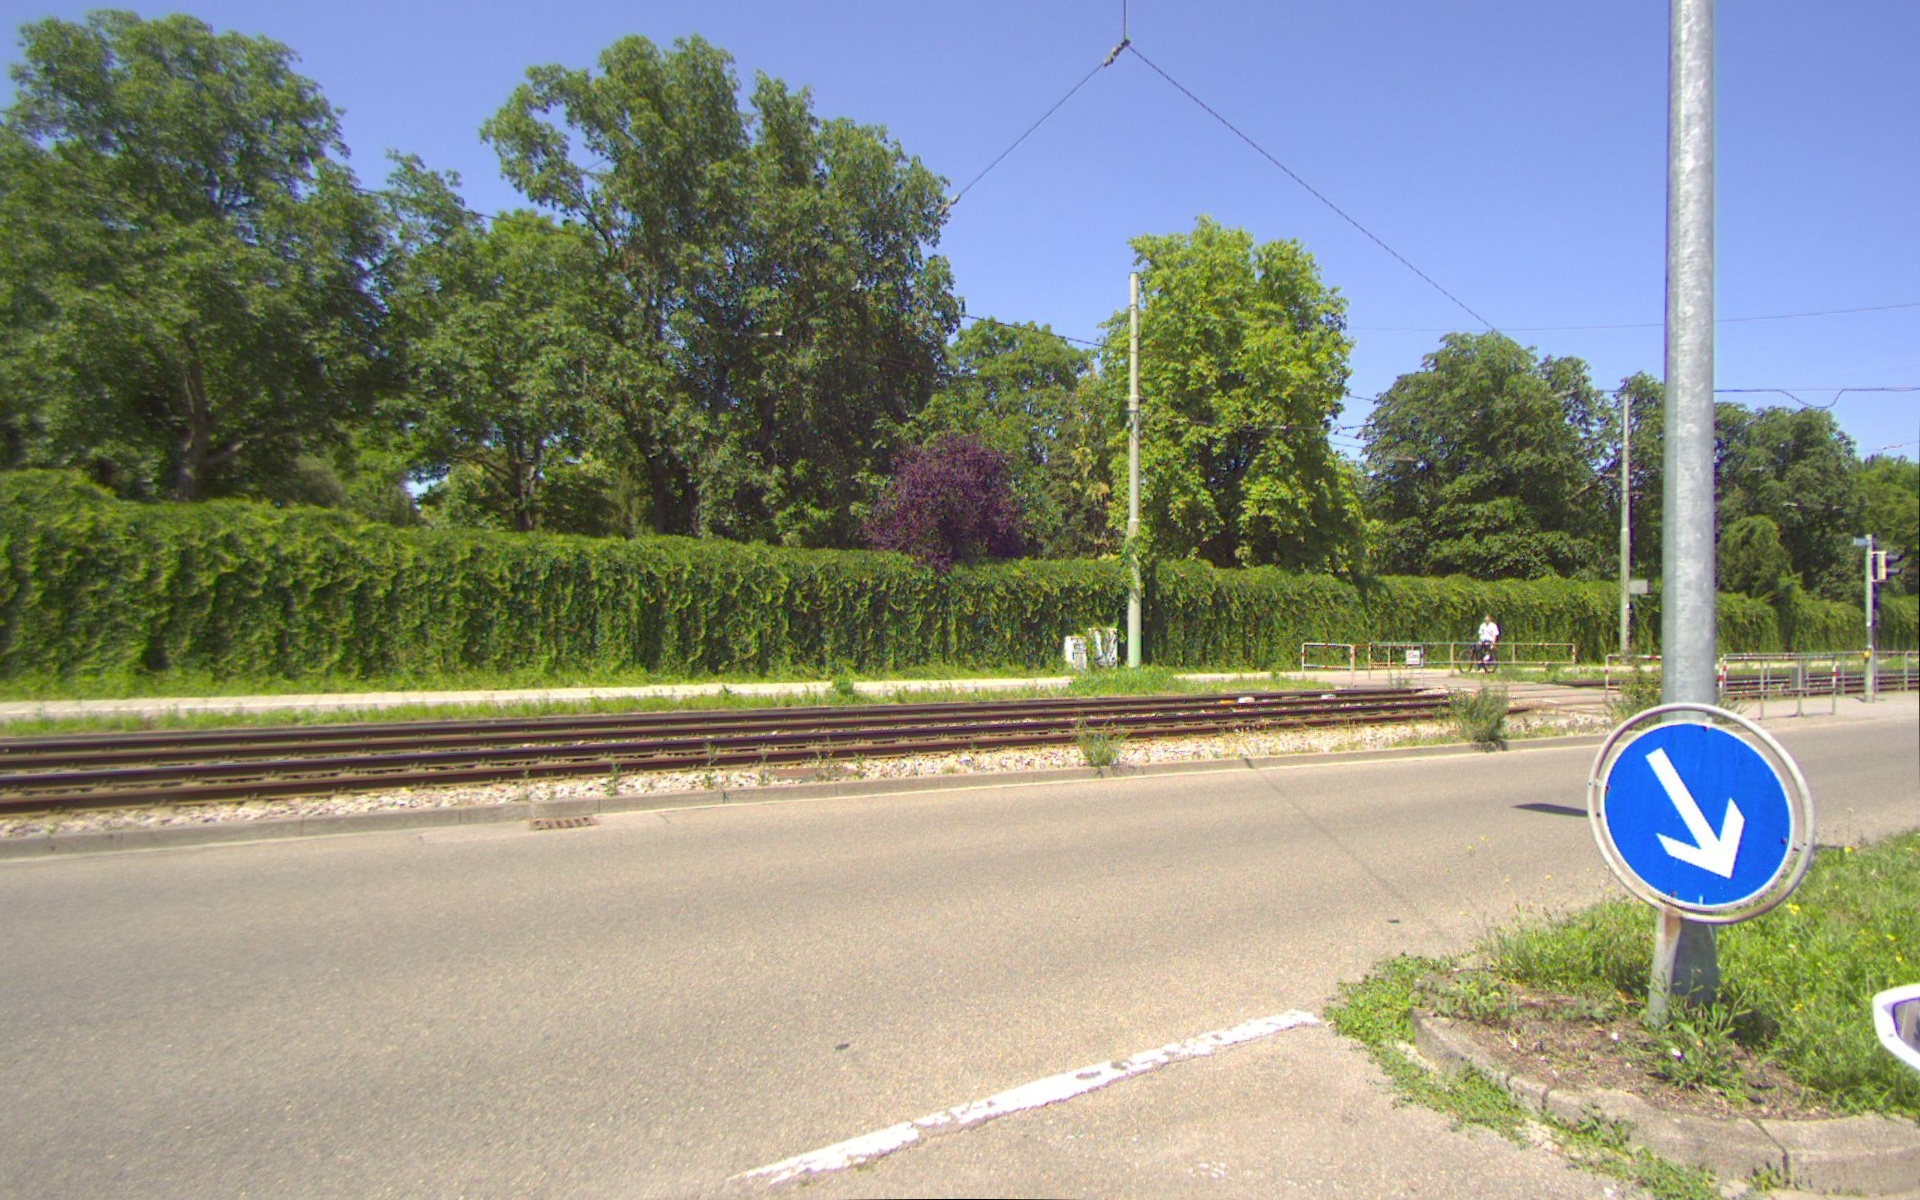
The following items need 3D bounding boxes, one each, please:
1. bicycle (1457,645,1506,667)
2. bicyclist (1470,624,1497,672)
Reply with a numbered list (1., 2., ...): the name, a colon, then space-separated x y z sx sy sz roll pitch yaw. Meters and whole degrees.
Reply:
1. bicycle: 16.389 1.743 31.556 1.699 0.656 0.558 1 -1 -29
2. bicyclist: 16.480 1.495 31.611 0.554 1.497 0.555 1 -1 -29
